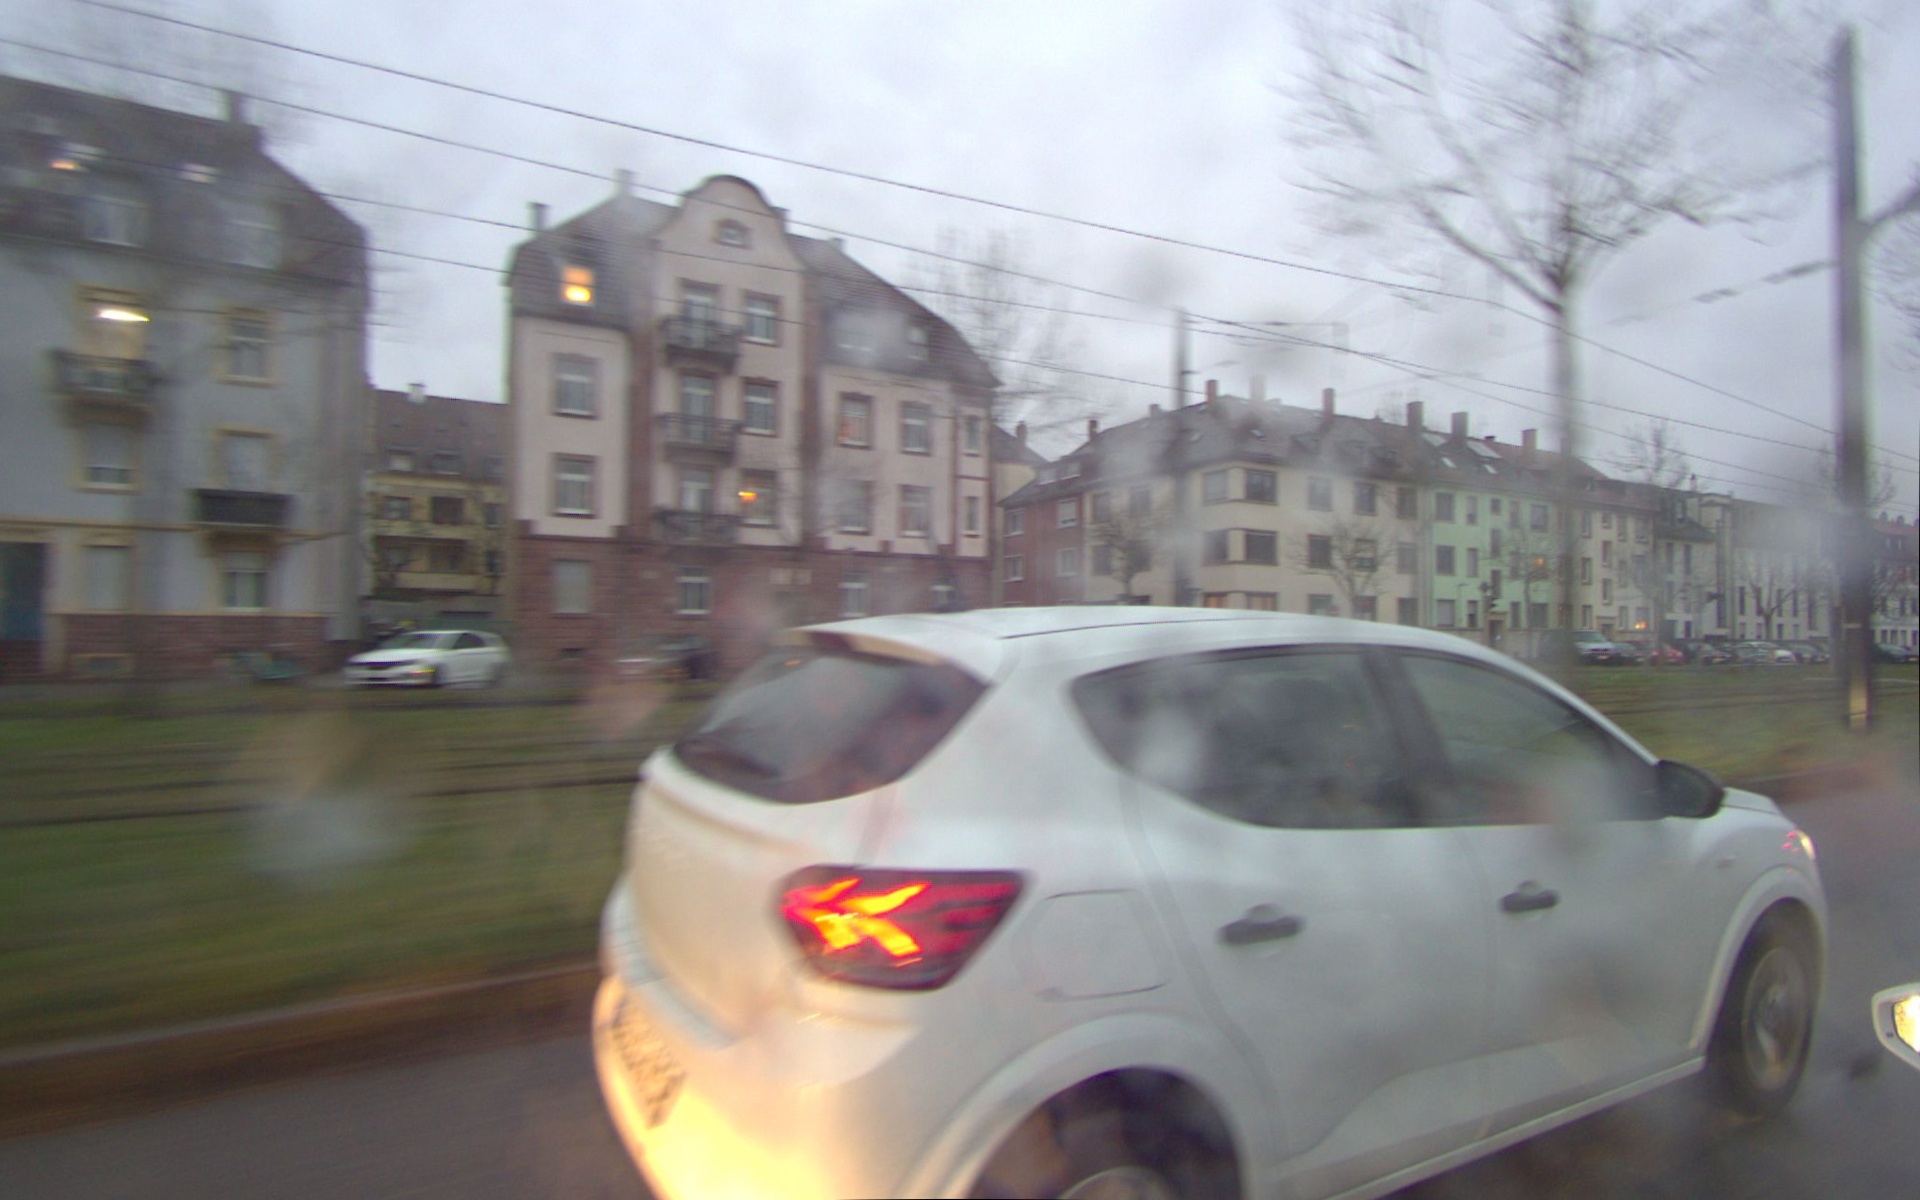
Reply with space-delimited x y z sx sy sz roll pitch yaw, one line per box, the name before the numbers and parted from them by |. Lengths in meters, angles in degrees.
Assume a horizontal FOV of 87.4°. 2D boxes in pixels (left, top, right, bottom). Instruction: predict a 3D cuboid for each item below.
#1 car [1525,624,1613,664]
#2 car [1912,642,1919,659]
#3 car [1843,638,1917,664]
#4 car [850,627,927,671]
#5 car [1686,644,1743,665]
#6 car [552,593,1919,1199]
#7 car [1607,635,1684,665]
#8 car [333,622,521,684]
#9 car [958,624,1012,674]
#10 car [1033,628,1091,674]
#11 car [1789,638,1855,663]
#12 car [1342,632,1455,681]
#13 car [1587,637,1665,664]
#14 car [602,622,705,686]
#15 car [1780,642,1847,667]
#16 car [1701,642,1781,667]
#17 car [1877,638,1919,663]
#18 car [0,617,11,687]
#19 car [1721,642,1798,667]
car | 30.352 2.144 50.204 1.796 1.746 4.660 2 0 4
car | 74.206 3.901 76.295 1.360 1.220 2.890 2 0 11
car | 63.538 3.501 69.461 1.636 1.561 4.165 2 0 6
car | -2.059 1.409 29.701 1.759 1.003 2.920 3 1 5
car | 42.074 3.034 56.047 1.408 1.062 2.393 1 0 2
car | 0.994 0.787 3.038 3.952 1.494 1.681 2 0 -29
car | 36.003 2.613 52.854 1.653 1.326 3.581 2 0 3
car | -12.908 1.235 24.675 1.796 1.274 4.269 2 0 11
car | 0.854 1.505 32.105 1.321 1.247 4.046 3 1 6
car | 3.502 1.662 33.940 1.677 1.176 4.107 3 1 9
car | 55.331 3.210 64.555 1.636 1.440 3.387 2 0 9
car | 14.822 1.896 33.904 3.738 1.524 1.538 2 0 -30
car | 34.228 2.562 51.730 1.702 1.156 3.573 2 0 3
car | -8.023 1.368 26.569 1.842 1.437 3.361 3 0 -5
car | 53.181 3.409 62.643 1.703 1.354 2.937 2 0 2
car | 44.696 3.121 57.564 1.703 1.188 3.822 2 0 3
car | 68.762 3.652 72.762 1.707 1.610 3.852 2 0 11
car | -21.142 1.048 18.975 1.660 1.451 4.666 2 0 6
car | 47.012 3.190 59.157 1.702 1.262 3.845 2 0 6
